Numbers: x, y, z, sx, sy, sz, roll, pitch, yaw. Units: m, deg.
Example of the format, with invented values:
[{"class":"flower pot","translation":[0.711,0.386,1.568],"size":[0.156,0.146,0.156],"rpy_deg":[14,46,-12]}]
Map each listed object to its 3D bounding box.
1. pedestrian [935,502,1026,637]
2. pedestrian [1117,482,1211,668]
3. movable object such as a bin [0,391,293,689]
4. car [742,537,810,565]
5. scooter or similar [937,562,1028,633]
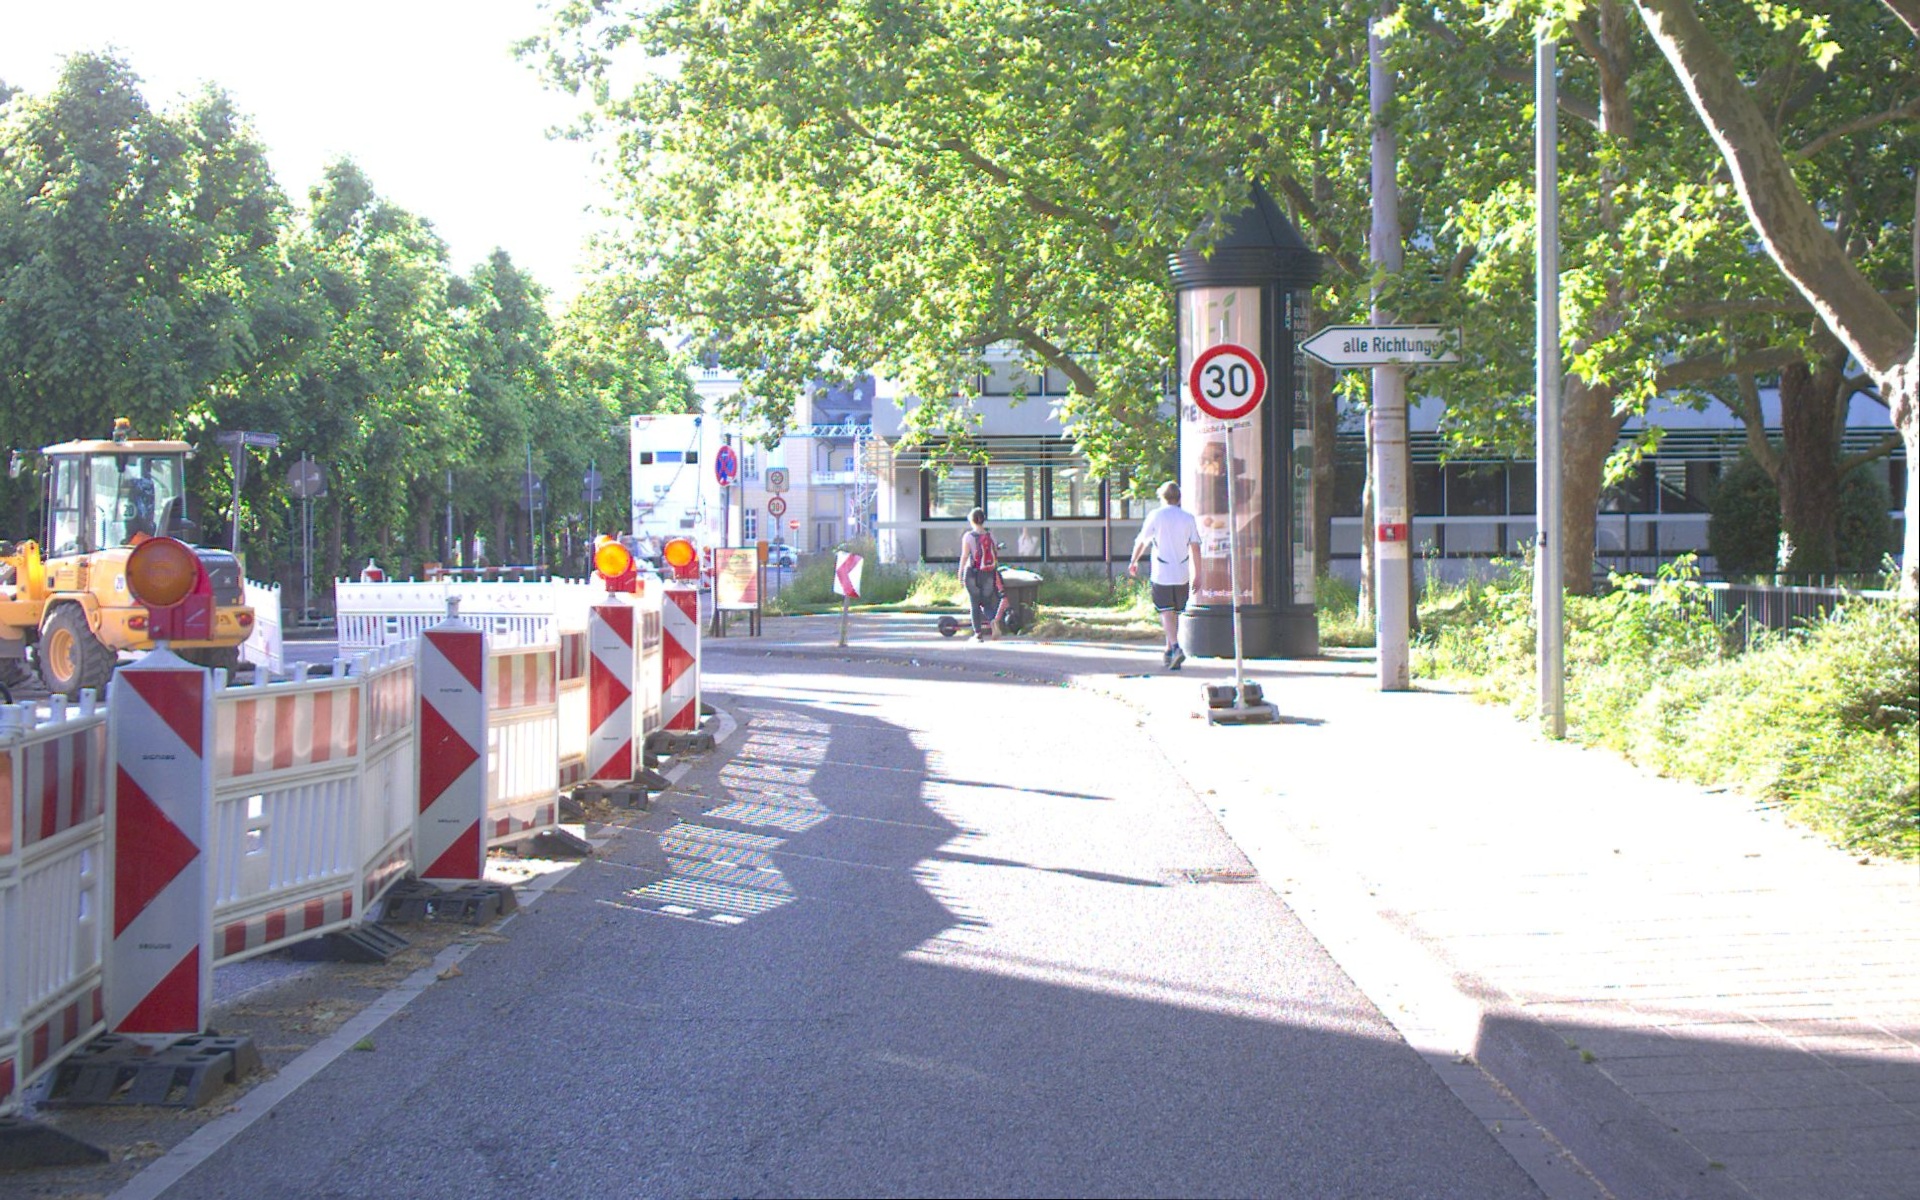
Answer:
[{"class":"pedestrian","translation":[0.248,-0.372,41.614],"size":[0.708,1.618,0.939],"rpy_deg":[-1,0,-31]},{"class":"pedestrian","translation":[2.052,-0.266,34.776],"size":[0.745,1.806,1.134],"rpy_deg":[1,3,-5]},{"class":"movable object such as a bin","translation":[-10.165,-0.642,37.780],"size":[5.927,3.021,2.560],"rpy_deg":[0,2,44]},{"class":"car","translation":[-12.448,-3.321,232.886],"size":[4.557,1.784,2.000],"rpy_deg":[0,1,-1]},{"class":"scooter or similar","translation":[0.296,-0.032,46.108],"size":[1.146,0.911,0.419],"rpy_deg":[-2,0,-7]}]
